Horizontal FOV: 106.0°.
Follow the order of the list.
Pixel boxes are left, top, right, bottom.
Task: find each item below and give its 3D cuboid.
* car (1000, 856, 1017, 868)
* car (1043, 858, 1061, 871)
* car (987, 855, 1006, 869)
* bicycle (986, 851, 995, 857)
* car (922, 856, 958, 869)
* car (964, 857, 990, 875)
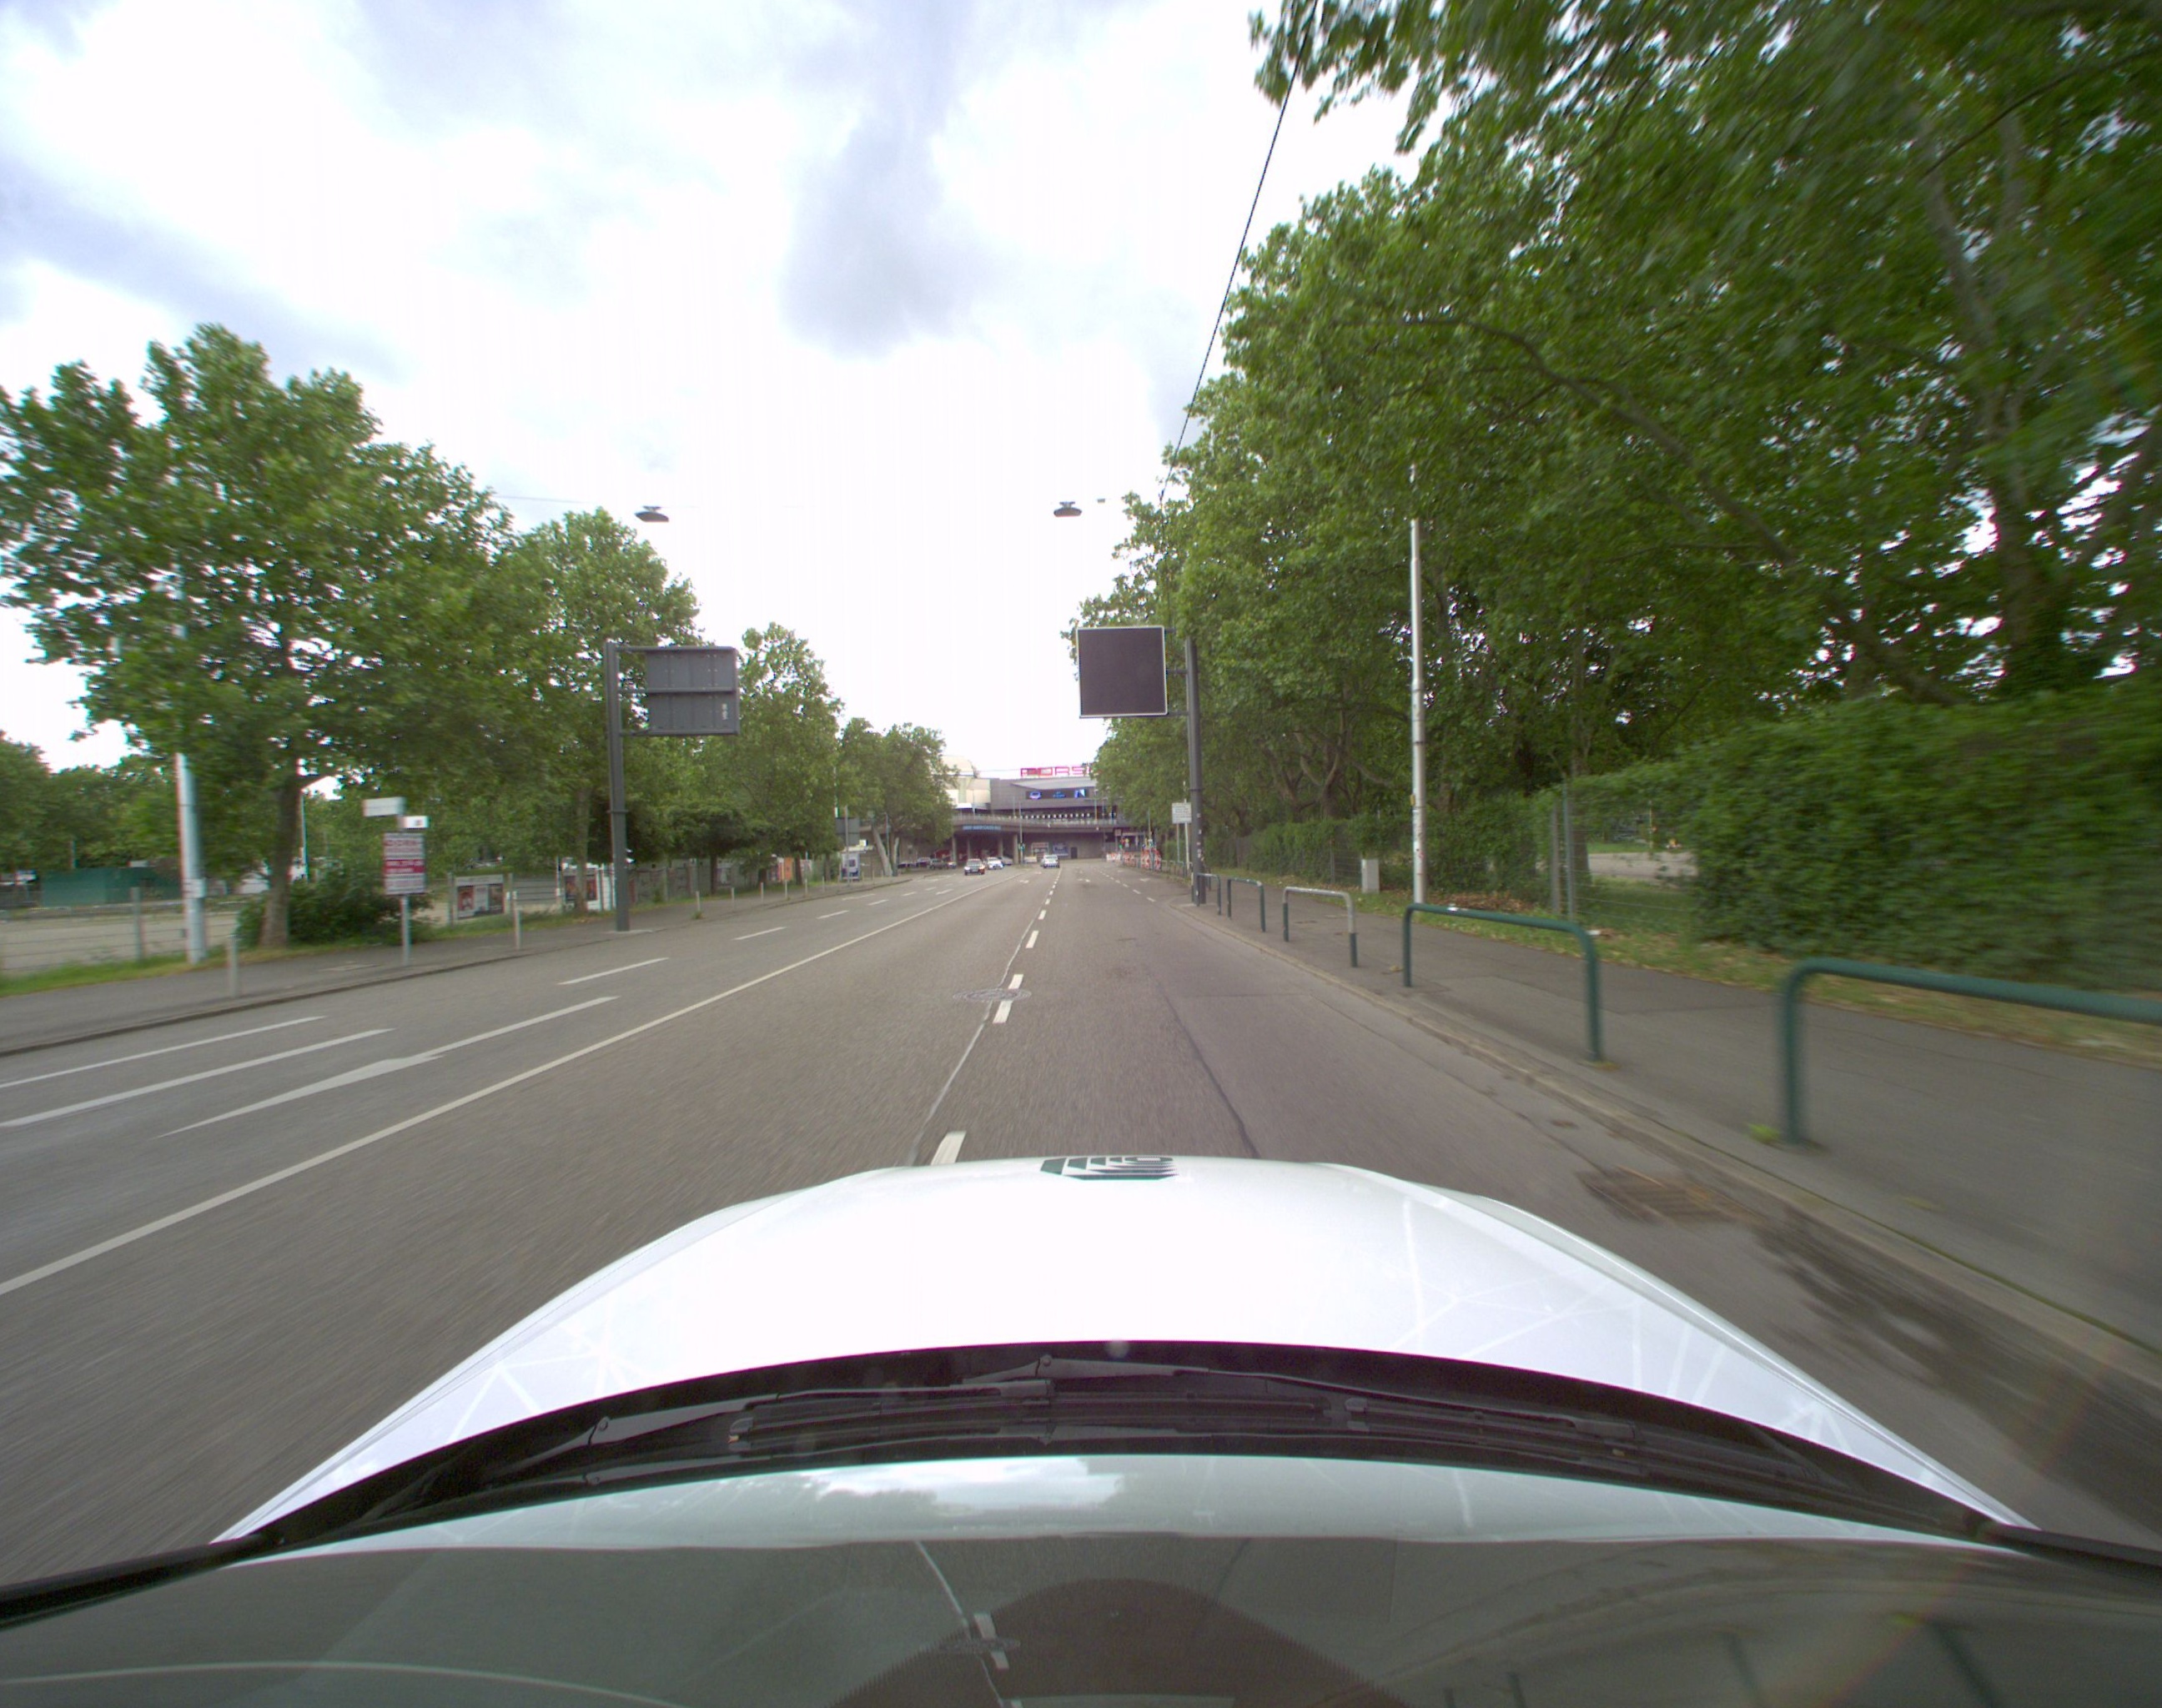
[{"bbox_3d":[-10.630,1.153,119.530,1.987,1.530,4.384,-2,0,0],"label":"car"},{"bbox_3d":[-3.335,1.140,94.012,1.988,1.418,3.997,-1,0,-2],"label":"car"},{"bbox_3d":[-10.257,0.989,99.130,1.988,1.530,4.381,-2,0,-2],"label":"car"},{"bbox_3d":[-15.793,0.078,141.774,1.530,1.013,0.516,0,-1,-5],"label":"bicycle"},{"bbox_3d":[-19.200,1.181,111.244,4.334,1.530,2.010,-2,0,20],"label":"car"},{"bbox_3d":[-9.816,1.139,77.169,1.989,1.530,4.722,-3,0,-2],"label":"car"}]
